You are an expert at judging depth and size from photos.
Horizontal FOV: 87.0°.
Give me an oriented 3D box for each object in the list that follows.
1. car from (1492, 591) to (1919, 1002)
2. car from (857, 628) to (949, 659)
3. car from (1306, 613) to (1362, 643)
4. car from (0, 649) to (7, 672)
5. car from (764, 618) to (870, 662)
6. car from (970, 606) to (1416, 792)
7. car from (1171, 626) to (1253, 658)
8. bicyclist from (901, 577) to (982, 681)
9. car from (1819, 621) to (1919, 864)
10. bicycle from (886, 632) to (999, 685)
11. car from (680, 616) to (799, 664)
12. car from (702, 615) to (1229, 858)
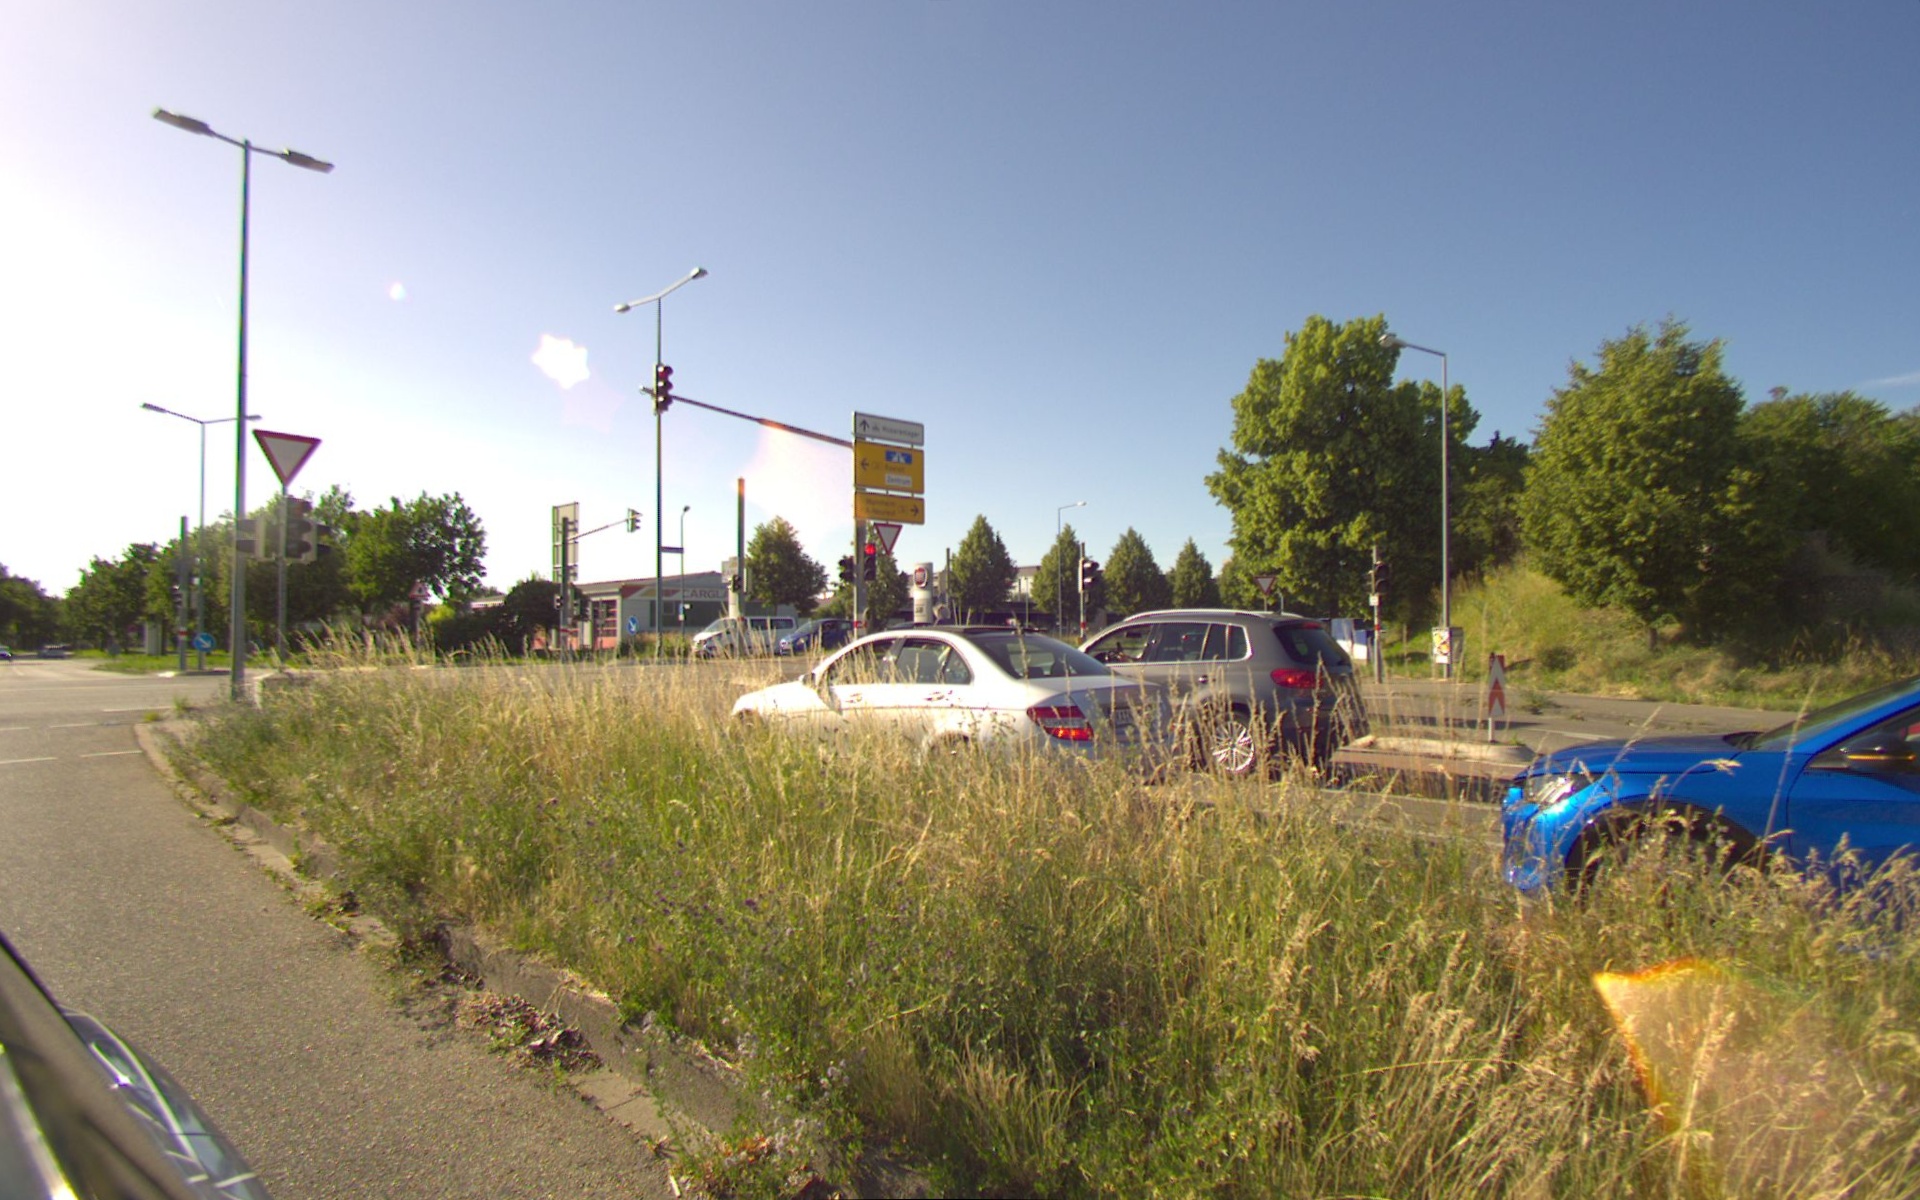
[{"bbox_3d":[4.462,0.722,3.944,3.890,1.494,1.727,-2,-3,45],"label":"car"},{"bbox_3d":[-2.509,1.934,45.296,1.892,1.284,3.985,-5,-4,40],"label":"car"},{"bbox_3d":[22.333,1.657,60.388,1.832,1.639,3.946,-3,-2,40],"label":"car"},{"bbox_3d":[-88.185,5.520,92.141,4.000,2.029,1.706,-1,-3,43],"label":"car"},{"bbox_3d":[-5.785,1.642,41.250,1.892,1.657,3.985,-5,-4,40],"label":"car"},{"bbox_3d":[2.412,0.967,11.354,4.532,1.656,1.971,-2,-3,45],"label":"car"},{"bbox_3d":[11.430,1.852,45.645,2.043,1.319,4.627,0,-1,35],"label":"car"},{"bbox_3d":[-0.329,0.498,17.350,1.242,1.715,0.736,-2,-3,44],"label":"bicyclist"},{"bbox_3d":[7.497,0.866,5.854,3.715,1.494,1.626,-2,-3,45],"label":"car"},{"bbox_3d":[-0.320,0.987,17.320,1.990,0.854,0.740,-2,-3,44],"label":"bicycle"},{"bbox_3d":[-10.143,1.842,46.798,2.046,2.029,5.204,-5,-4,40],"label":"car"},{"bbox_3d":[-0.206,0.932,8.585,4.532,1.517,1.773,-2,-3,45],"label":"car"}]
